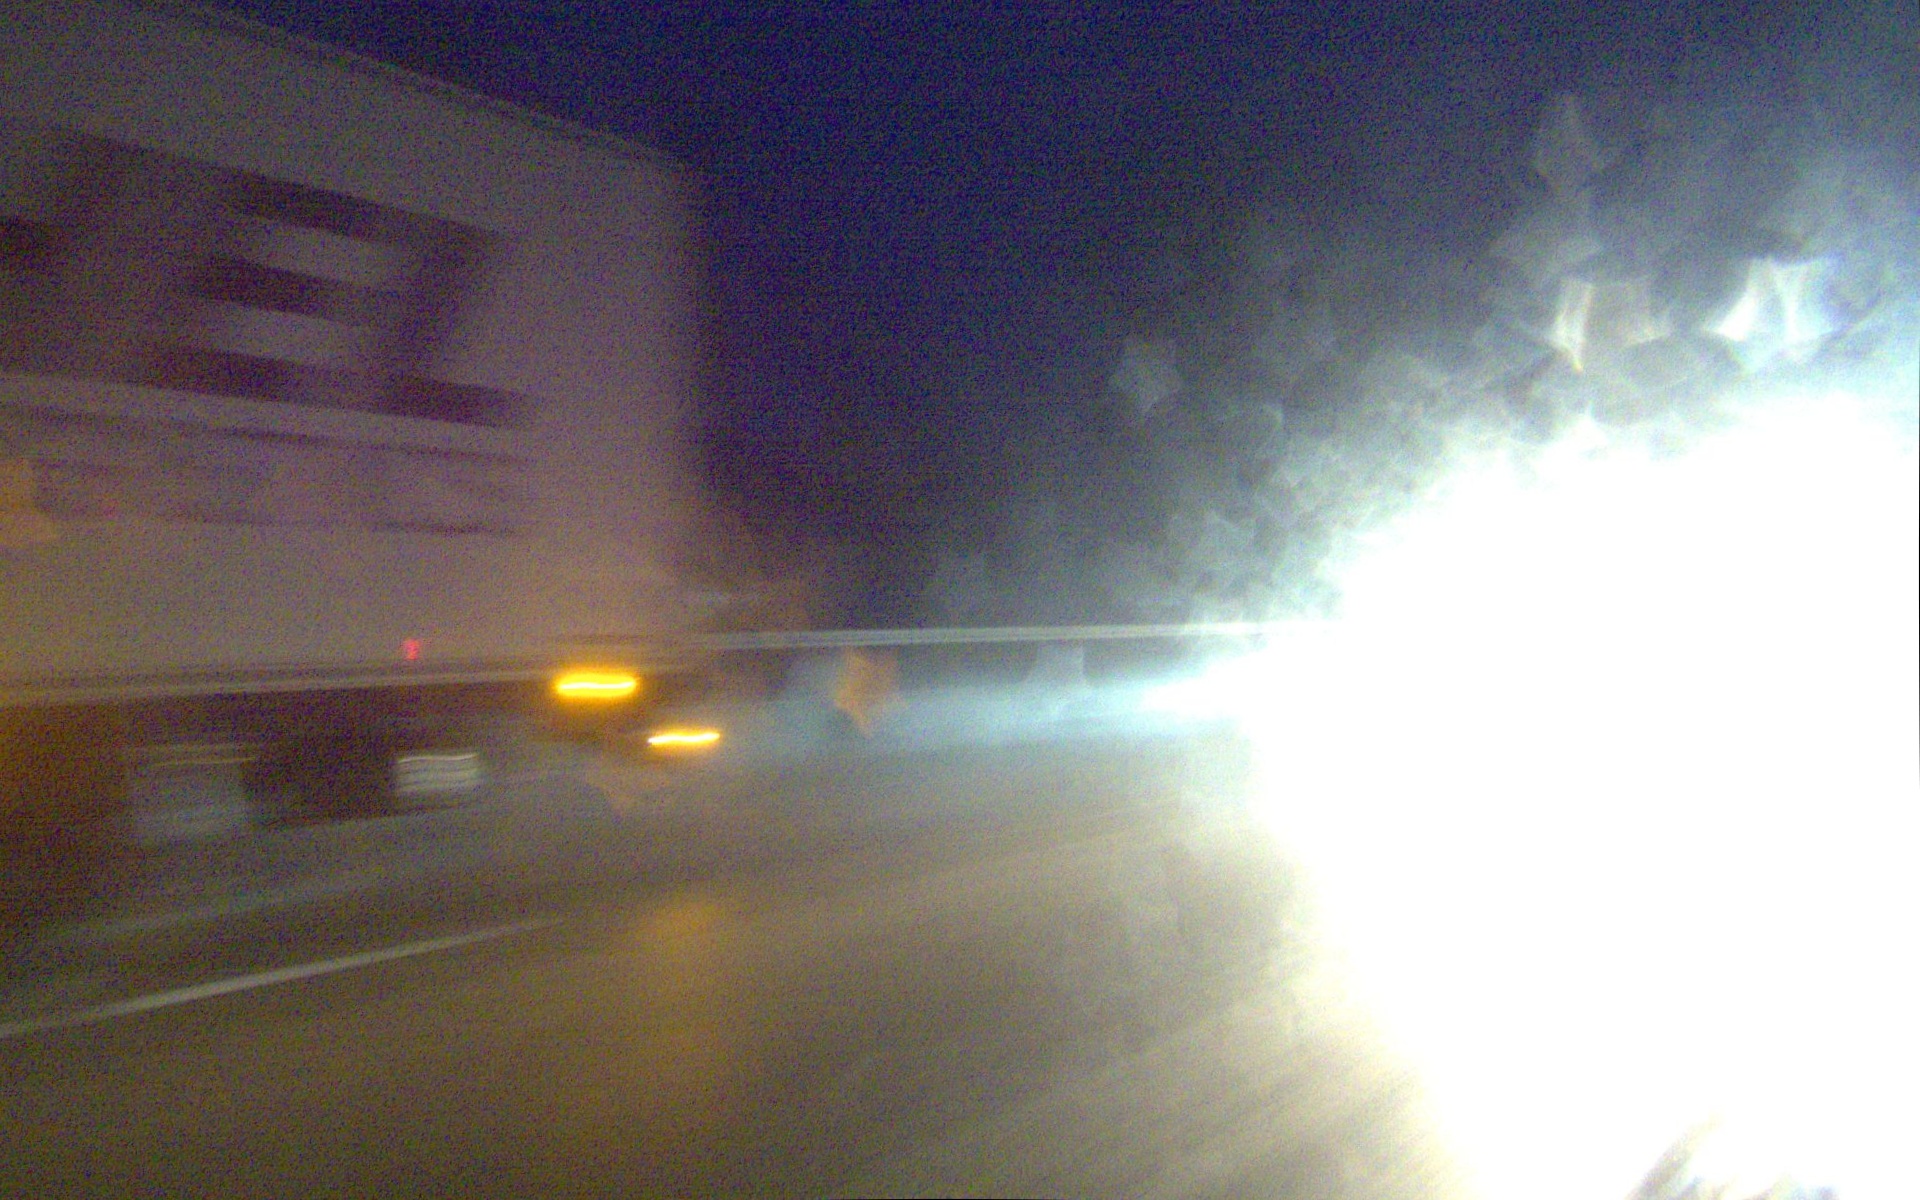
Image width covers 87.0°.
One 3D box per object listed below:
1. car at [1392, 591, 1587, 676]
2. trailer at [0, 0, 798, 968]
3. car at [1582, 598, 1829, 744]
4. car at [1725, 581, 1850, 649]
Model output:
[{"bbox_3d":[10.673,0.611,20.228,4.876,1.505,1.896,1,0,-42],"label":"car"},{"bbox_3d":[-6.361,-0.760,3.245,11.886,4.265,2.808,0,0,-41],"label":"trailer"},{"bbox_3d":[8.847,0.701,11.911,3.726,1.430,1.615,0,1,-42],"label":"car"},{"bbox_3d":[27.212,0.456,33.209,5.308,1.998,2.052,0,2,-39],"label":"car"}]
